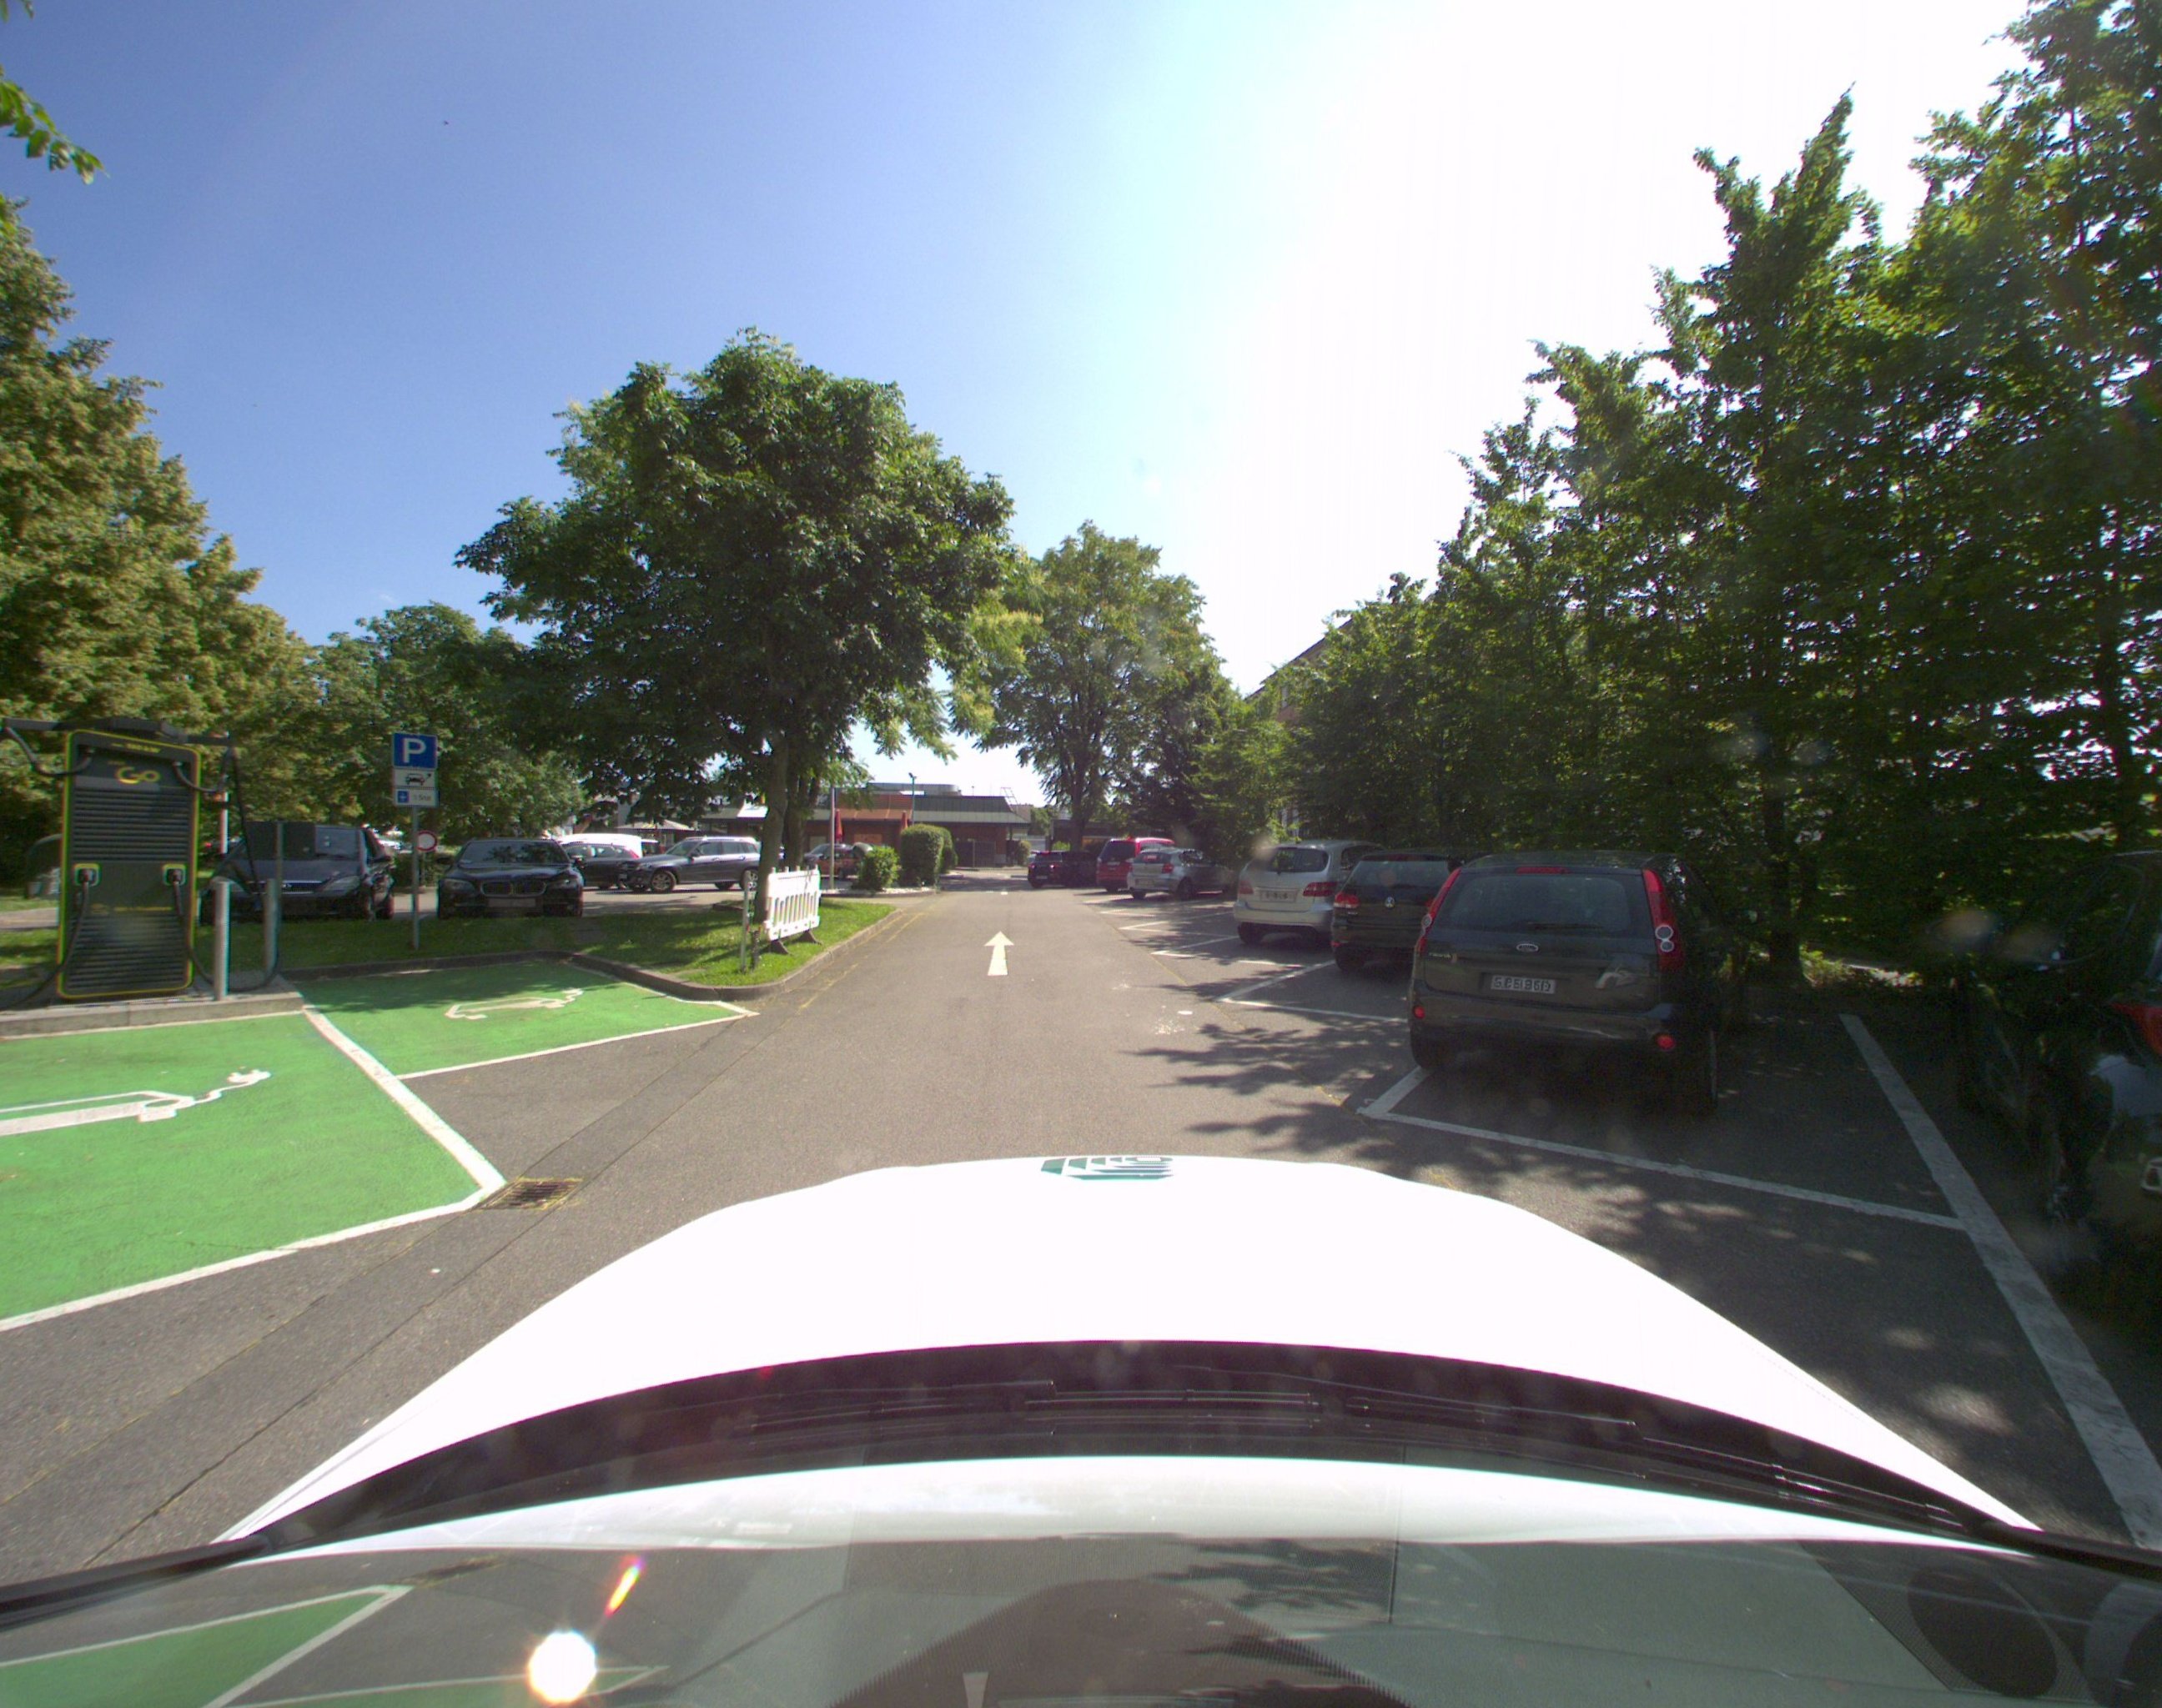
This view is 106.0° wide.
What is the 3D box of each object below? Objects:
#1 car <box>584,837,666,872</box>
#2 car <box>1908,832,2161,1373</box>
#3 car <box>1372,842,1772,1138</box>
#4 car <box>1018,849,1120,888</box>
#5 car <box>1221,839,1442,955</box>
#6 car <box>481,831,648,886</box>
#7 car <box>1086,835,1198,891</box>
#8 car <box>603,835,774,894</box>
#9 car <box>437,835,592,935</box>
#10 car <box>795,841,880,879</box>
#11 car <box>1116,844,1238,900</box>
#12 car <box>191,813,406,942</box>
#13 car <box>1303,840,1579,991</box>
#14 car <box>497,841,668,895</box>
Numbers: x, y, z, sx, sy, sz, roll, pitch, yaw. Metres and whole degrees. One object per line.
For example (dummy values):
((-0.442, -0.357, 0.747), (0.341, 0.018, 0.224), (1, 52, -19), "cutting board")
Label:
((-21.297, 0.007, 37.975), (4.089, 1.552, 1.933), (1, 1, 39), "car")
((4.717, 0.646, 3.290), (1.640, 1.470, 3.929), (-1, 1, 41), "car")
((3.875, 0.659, 6.077), (1.683, 1.453, 4.024), (-1, 0, 44), "car")
((-0.386, 0.531, 31.191), (1.751, 1.389, 4.025), (-1, -1, 39), "car")
((4.152, 0.560, 13.145), (1.752, 1.572, 4.023), (0, 1, 45), "car")
((-17.167, 0.150, 27.241), (1.838, 1.686, 4.339), (1, 0, 39), "car")
((2.104, 0.285, 27.253), (1.751, 1.734, 4.025), (-2, -1, 38), "car")
((-12.046, 0.297, 25.273), (1.838, 1.686, 4.394), (1, 0, 38), "car")
((-9.812, 0.453, 14.057), (1.870, 1.453, 4.319), (3, -1, -37), "car")
((-11.687, 0.240, 39.024), (4.312, 1.685, 1.874), (1, 3, 41), "car")
((2.885, 0.469, 23.818), (1.751, 1.475, 4.026), (-1, 0, 37), "car")
((-12.113, 0.310, 12.928), (1.870, 1.686, 4.319), (3, -1, -37), "car")
((4.626, 0.597, 10.171), (4.023, 1.470, 1.752), (-2, 1, -44), "car")
((-15.130, 0.387, 24.903), (1.838, 1.491, 4.064), (1, 0, 38), "car")
